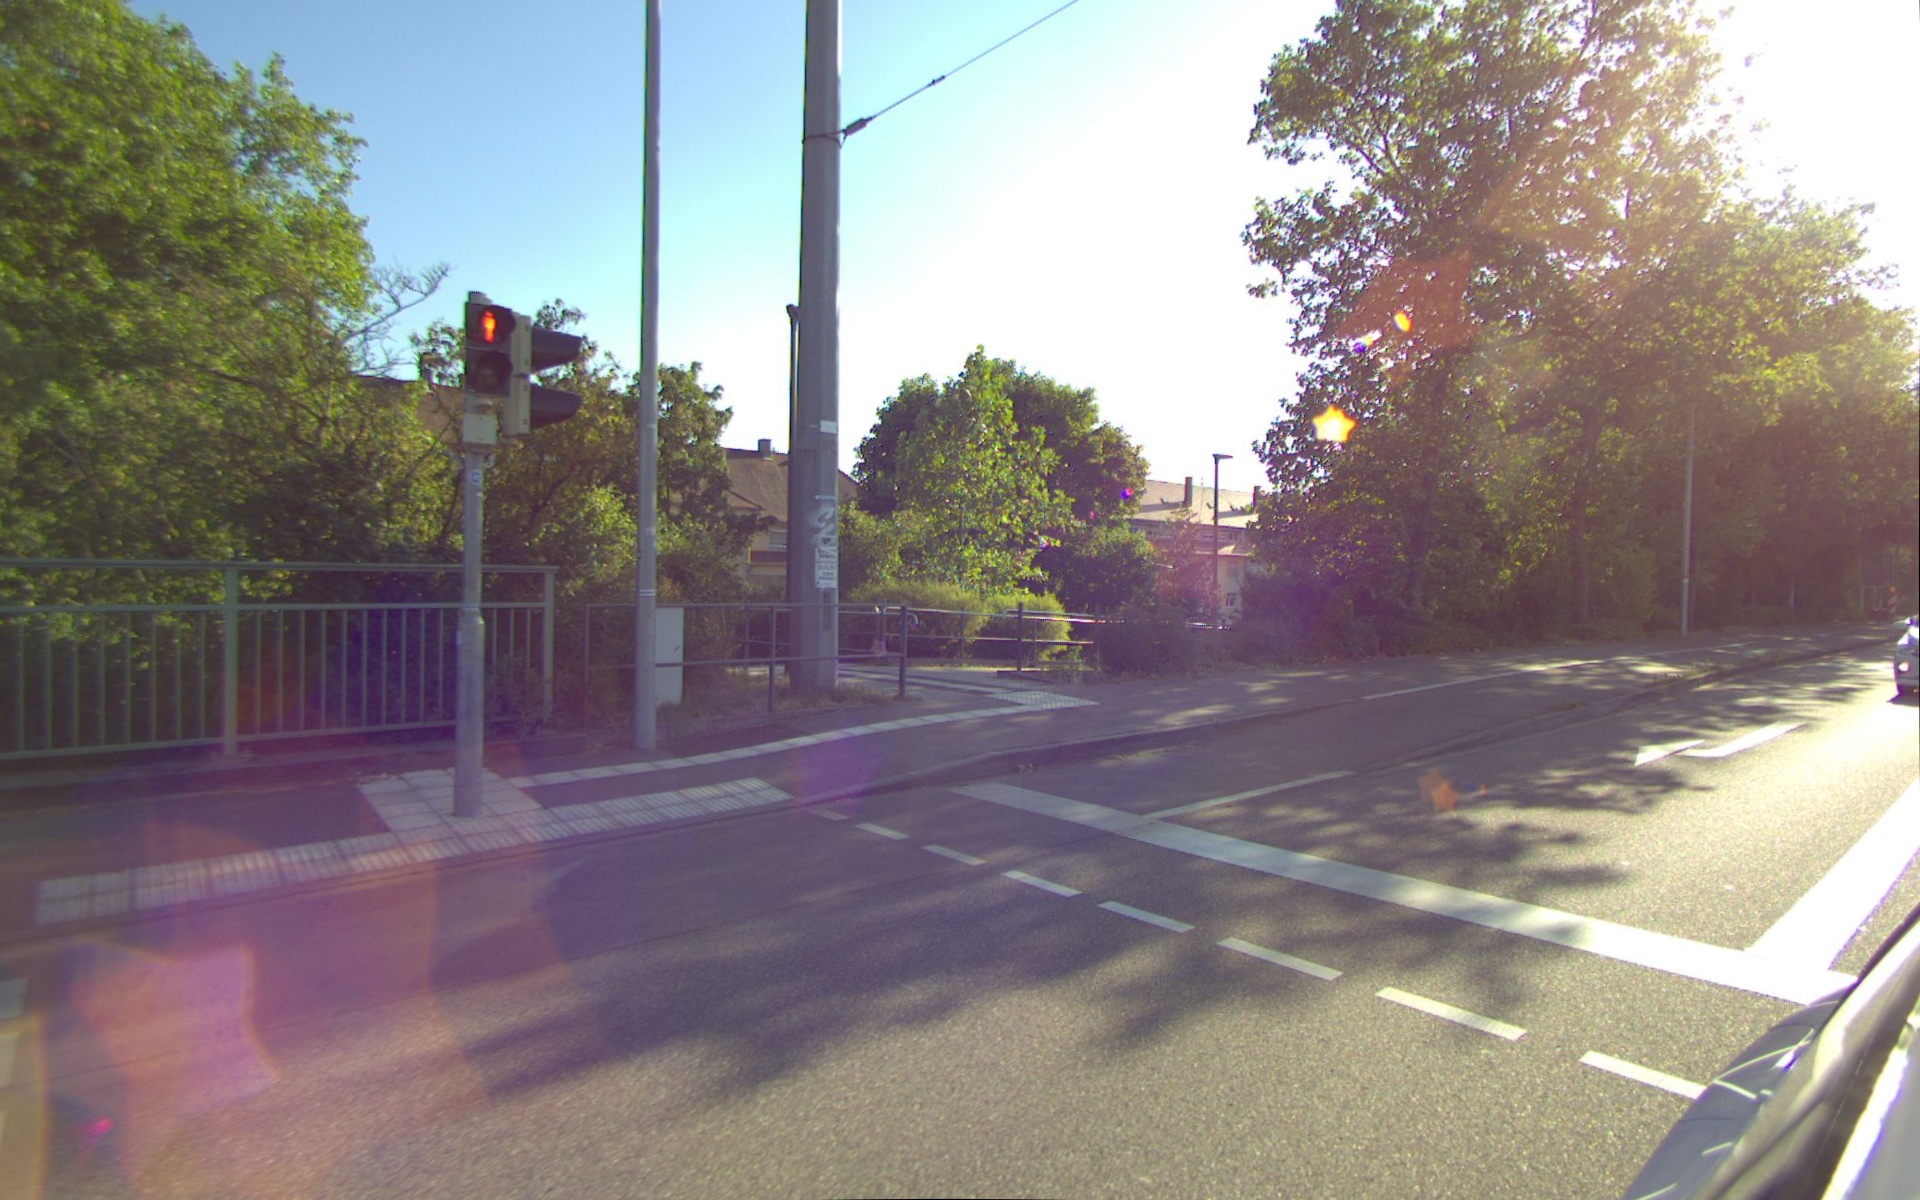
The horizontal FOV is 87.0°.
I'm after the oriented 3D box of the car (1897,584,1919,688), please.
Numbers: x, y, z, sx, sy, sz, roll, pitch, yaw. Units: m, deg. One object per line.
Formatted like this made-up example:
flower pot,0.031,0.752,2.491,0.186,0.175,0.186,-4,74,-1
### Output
car,15.651,0.507,15.234,3.676,1.492,1.671,-1,2,-38
